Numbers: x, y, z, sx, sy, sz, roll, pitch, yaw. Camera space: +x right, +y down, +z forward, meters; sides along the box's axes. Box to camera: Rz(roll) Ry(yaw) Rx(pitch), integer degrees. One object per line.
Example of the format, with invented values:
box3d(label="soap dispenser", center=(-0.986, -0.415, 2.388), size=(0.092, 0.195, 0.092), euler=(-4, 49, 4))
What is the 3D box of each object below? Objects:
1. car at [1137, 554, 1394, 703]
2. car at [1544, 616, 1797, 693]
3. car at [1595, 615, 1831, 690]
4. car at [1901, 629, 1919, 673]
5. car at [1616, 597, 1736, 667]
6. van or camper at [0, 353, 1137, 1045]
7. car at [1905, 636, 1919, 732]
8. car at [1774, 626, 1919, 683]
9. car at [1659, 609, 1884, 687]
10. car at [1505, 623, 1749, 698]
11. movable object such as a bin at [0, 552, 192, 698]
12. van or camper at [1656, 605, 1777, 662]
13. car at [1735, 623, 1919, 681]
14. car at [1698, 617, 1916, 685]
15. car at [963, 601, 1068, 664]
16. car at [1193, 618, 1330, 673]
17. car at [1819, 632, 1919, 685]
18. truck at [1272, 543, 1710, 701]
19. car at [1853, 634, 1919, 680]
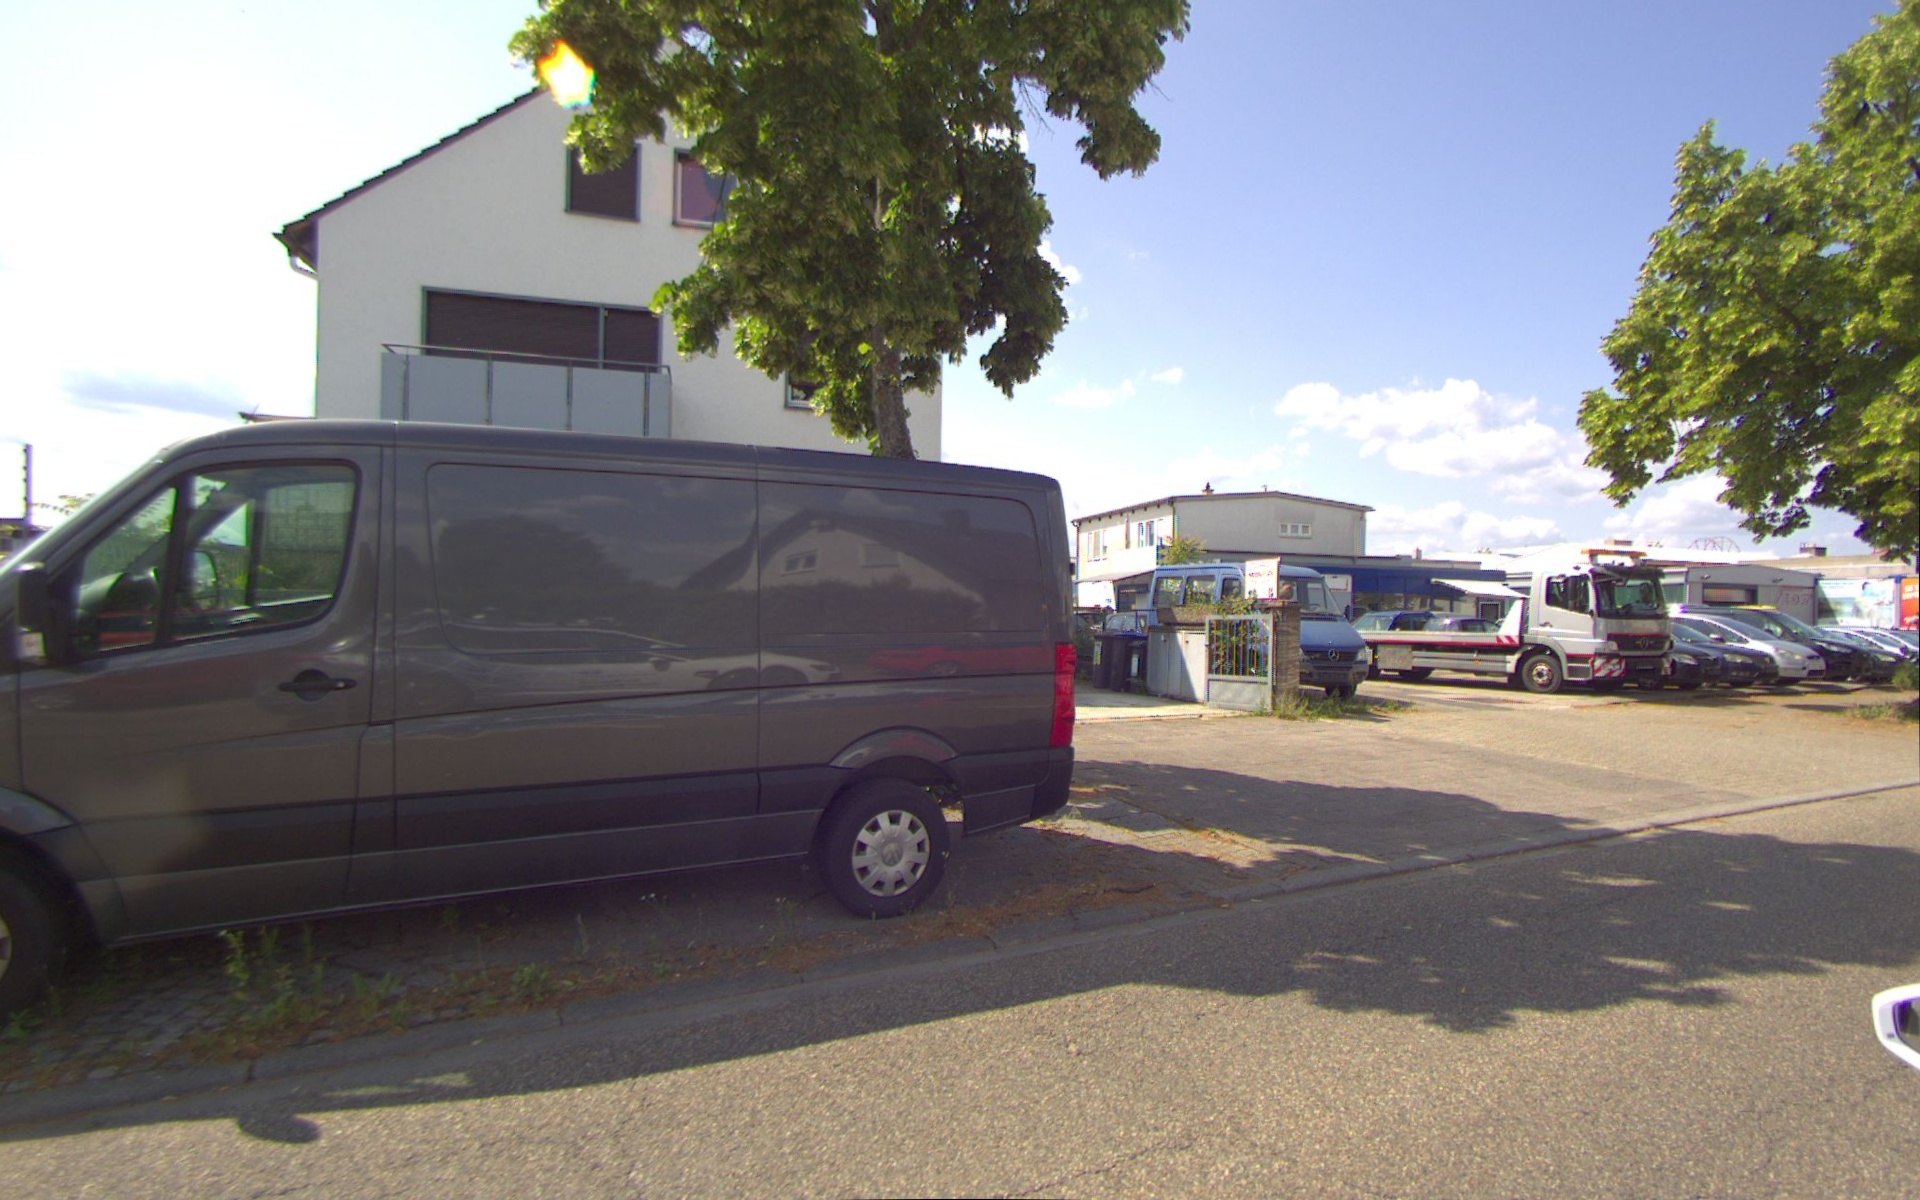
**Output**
box3d(label="car", center=(5.227, 0.479, 18.070), size=(1.967, 2.261, 5.000), euler=(2, -1, -16))
box3d(label="car", center=(16.348, 1.173, 23.394), size=(1.803, 1.603, 4.509), euler=(1, -1, -27))
box3d(label="car", center=(18.229, 1.197, 24.543), size=(1.805, 1.636, 4.275), euler=(1, -1, -30))
box3d(label="car", center=(38.405, 2.016, 39.049), size=(3.252, 1.677, 1.440), euler=(1, -1, -22))
box3d(label="car", center=(22.289, 0.986, 31.236), size=(3.956, 2.040, 1.701), euler=(2, -1, -32))
box3d(label="van or camper", center=(-2.114, 0.346, 5.093), size=(5.858, 2.348, 1.986), euler=(2, 2, -27))
box3d(label="car", center=(17.167, 1.386, 15.987), size=(4.103, 1.503, 1.693), euler=(1, 1, -26))
box3d(label="car", center=(26.408, 1.551, 29.009), size=(1.803, 1.509, 4.130), euler=(2, -2, -26))
box3d(label="car", center=(20.620, 1.181, 25.727), size=(1.803, 1.812, 4.130), euler=(2, -2, -26))
box3d(label="car", center=(14.409, 1.253, 21.980), size=(1.656, 1.478, 4.183), euler=(1, -2, -27))
box3d(label="movable object such as a bin", center=(-9.983, 0.277, 11.326), size=(1.575, 1.451, 1.310), euler=(-5, 1, -13))
box3d(label="van or camper", center=(34.451, 1.490, 45.739), size=(5.282, 2.508, 1.990), euler=(0, 0, -22))
box3d(label="car", center=(24.604, 1.415, 28.231), size=(1.803, 1.449, 4.130), euler=(2, -2, -26))
box3d(label="car", center=(22.703, 1.325, 27.103), size=(1.803, 1.640, 4.130), euler=(2, -2, -26))
box3d(label="car", center=(1.704, 1.009, 32.553), size=(1.967, 1.816, 4.480), euler=(2, -1, -16))
box3d(label="car", center=(8.905, 1.334, 29.668), size=(3.706, 1.499, 1.638), euler=(2, 0, -24))
box3d(label="car", center=(28.807, 1.772, 30.312), size=(1.803, 1.509, 4.013), euler=(2, -2, -26))
box3d(label="truck", center=(11.428, 0.485, 23.096), size=(2.683, 2.894, 9.233), euler=(1, -1, -24))
box3d(label="car", center=(31.150, 1.848, 31.748), size=(1.802, 1.392, 4.015), euler=(1, 0, -24))
